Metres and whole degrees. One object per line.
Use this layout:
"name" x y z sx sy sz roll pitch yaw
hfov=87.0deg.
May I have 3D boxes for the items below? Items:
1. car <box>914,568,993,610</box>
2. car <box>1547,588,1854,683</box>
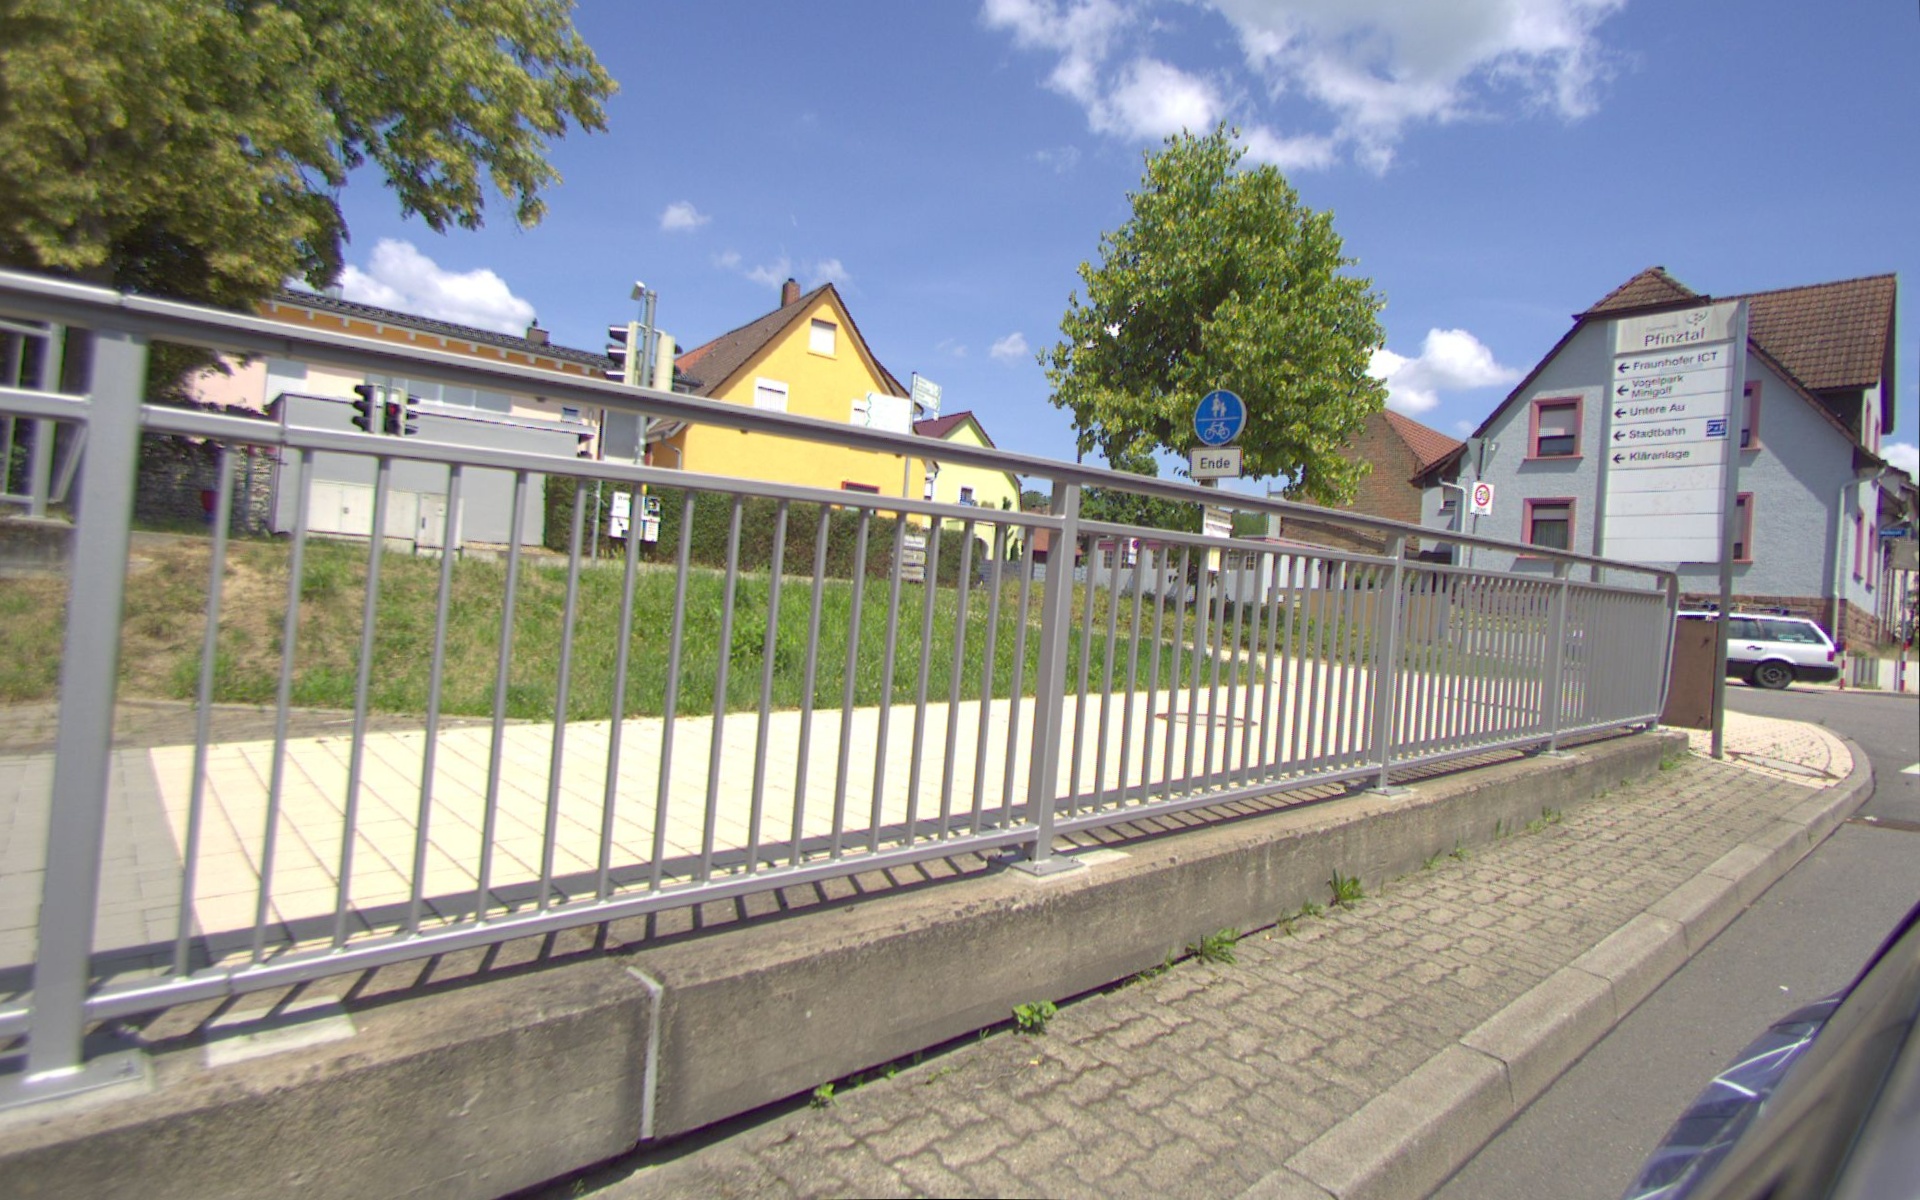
"car" -0.343 -0.519 47.228 1.612 1.851 4.000 3 -1 -35
"car" 14.694 0.683 20.460 4.790 1.665 1.664 2 -3 29
